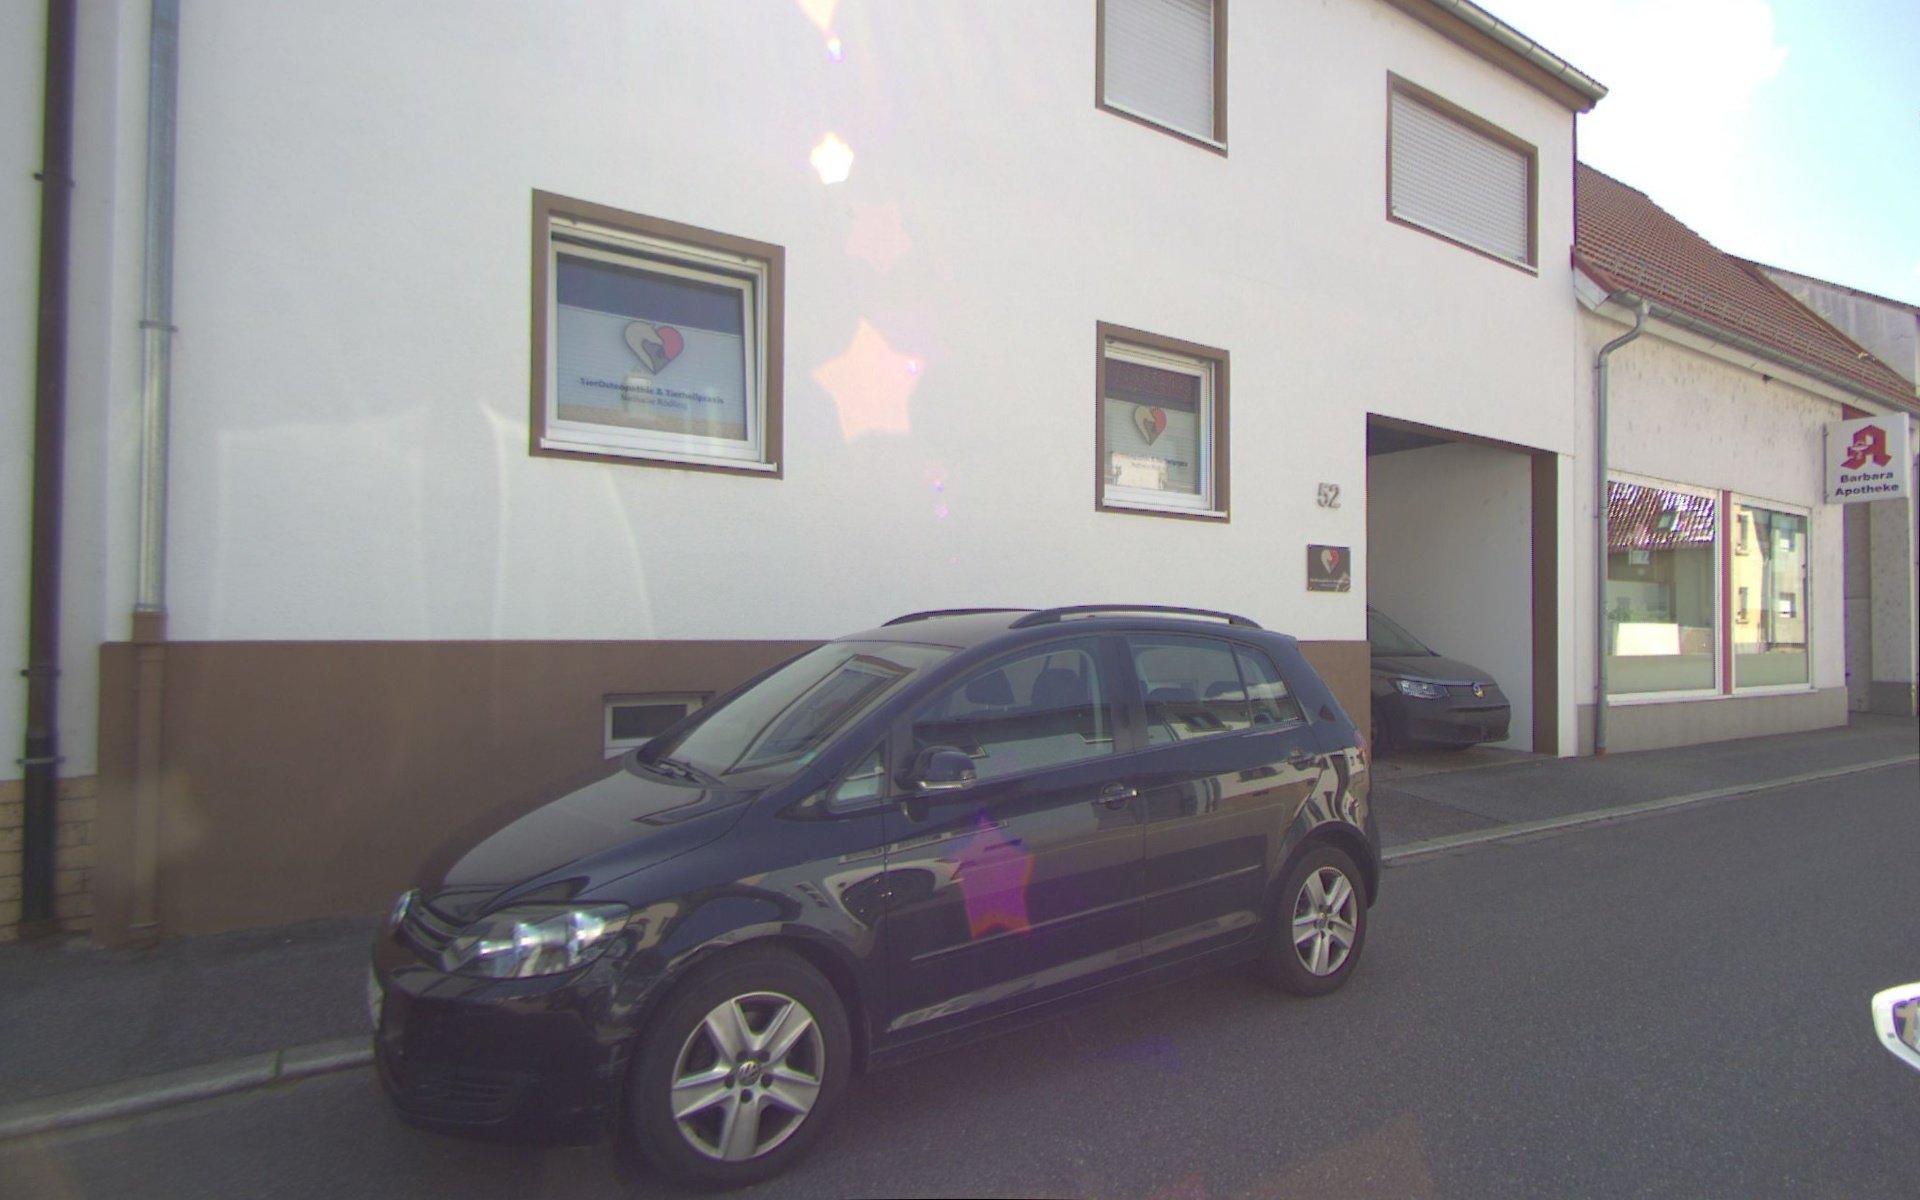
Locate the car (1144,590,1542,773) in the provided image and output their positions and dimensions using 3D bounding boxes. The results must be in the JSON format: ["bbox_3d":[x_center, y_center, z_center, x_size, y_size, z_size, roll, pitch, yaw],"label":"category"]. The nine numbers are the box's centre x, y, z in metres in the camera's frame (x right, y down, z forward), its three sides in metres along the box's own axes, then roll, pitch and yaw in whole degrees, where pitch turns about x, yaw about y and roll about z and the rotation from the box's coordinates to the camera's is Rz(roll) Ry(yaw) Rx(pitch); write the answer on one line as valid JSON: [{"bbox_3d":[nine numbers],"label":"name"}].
[{"bbox_3d":[4.347,0.861,12.067,1.860,1.771,4.218,1,-2,-32],"label":"car"}]

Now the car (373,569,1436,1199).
[{"bbox_3d":[0.001,0.807,4.055,4.018,1.630,1.644,1,-2,-33],"label":"car"}]
